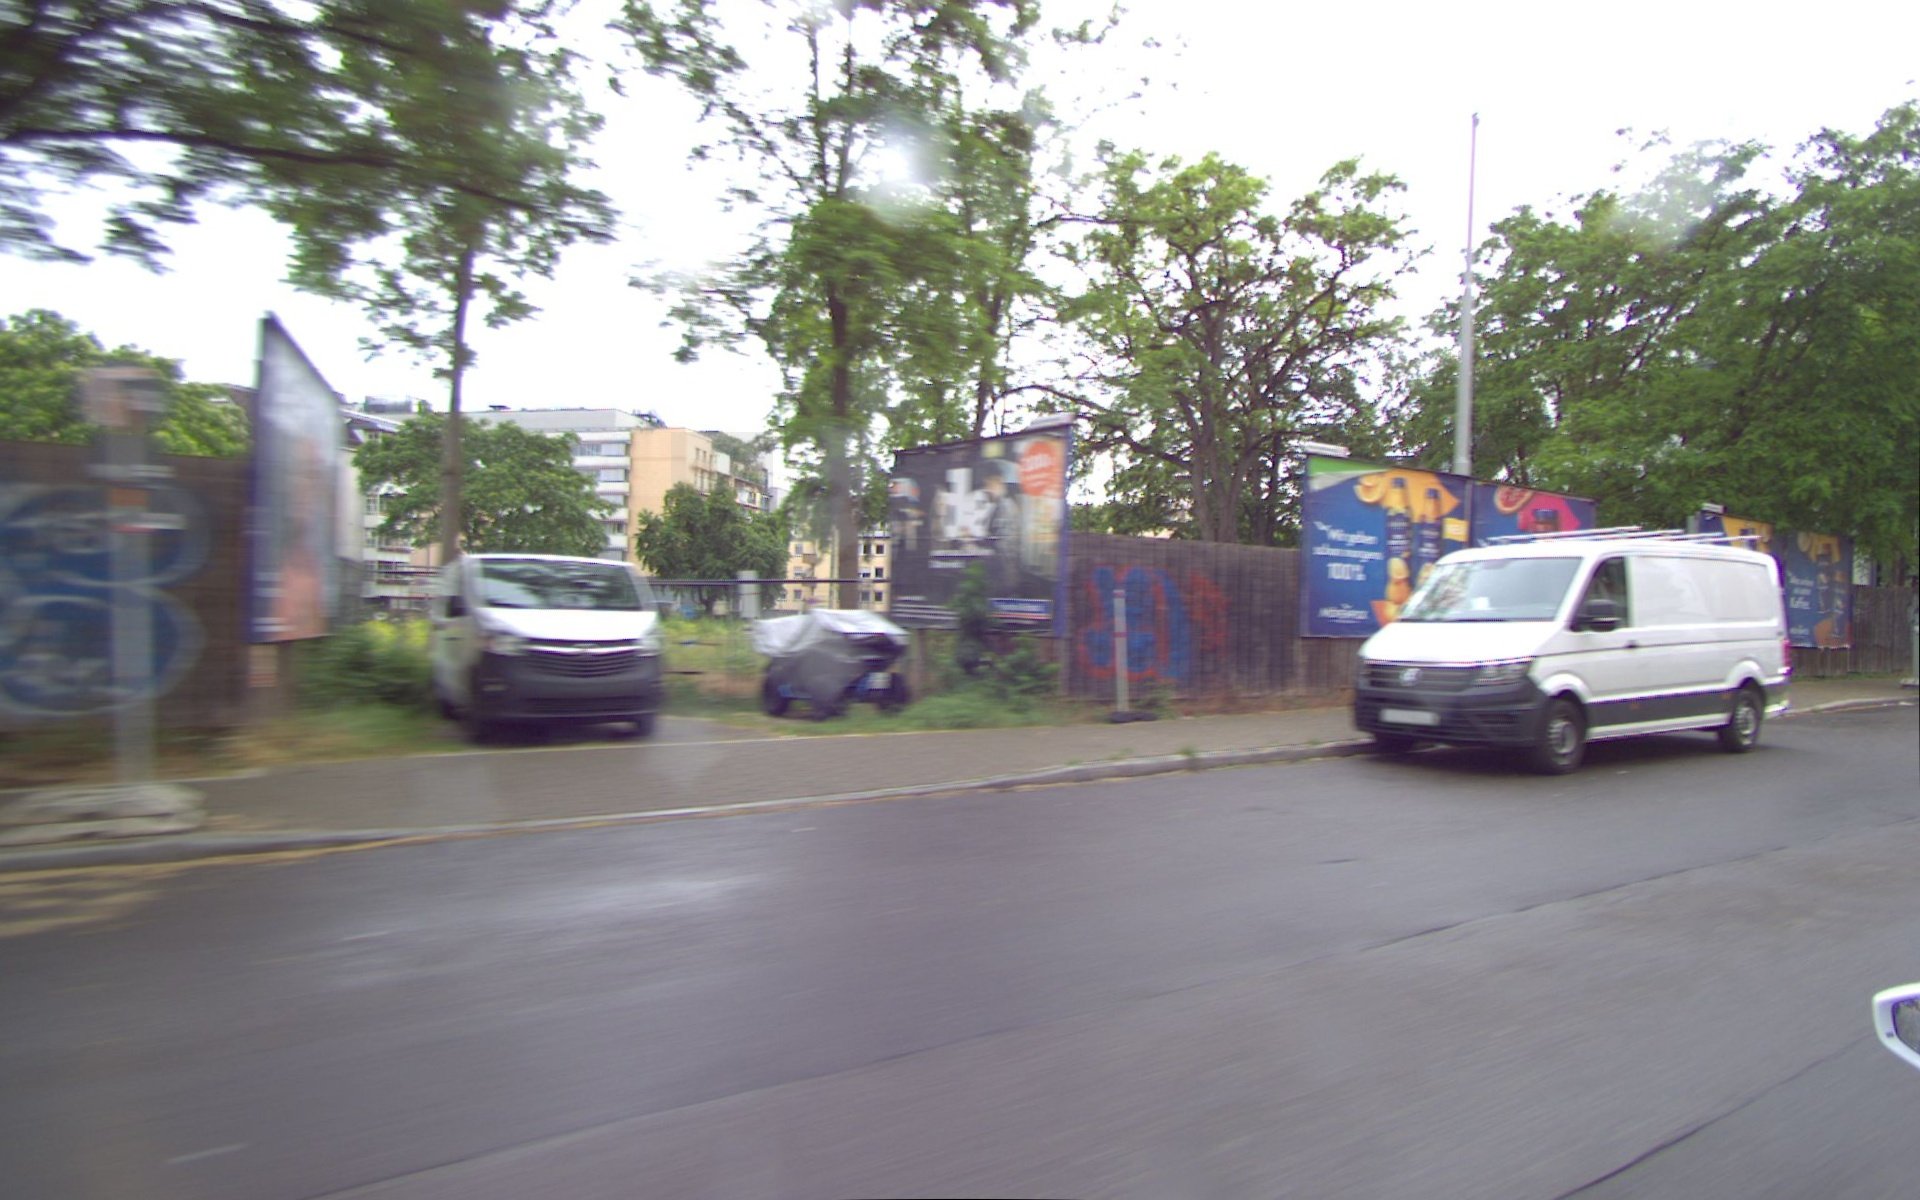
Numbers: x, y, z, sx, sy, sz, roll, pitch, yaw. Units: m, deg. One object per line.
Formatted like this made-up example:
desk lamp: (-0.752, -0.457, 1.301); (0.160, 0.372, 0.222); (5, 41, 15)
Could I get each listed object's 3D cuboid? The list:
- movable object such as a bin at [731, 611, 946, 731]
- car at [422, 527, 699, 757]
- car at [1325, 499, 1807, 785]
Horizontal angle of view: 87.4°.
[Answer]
movable object such as a bin: (-1.688, 0.881, 13.602); (1.664, 1.443, 2.668); (1, -1, -43)
car: (-4.923, 0.424, 11.767); (2.122, 2.036, 5.470); (1, -1, -31)
car: (6.900, 0.411, 11.208); (5.911, 2.520, 2.003); (1, -1, -30)
